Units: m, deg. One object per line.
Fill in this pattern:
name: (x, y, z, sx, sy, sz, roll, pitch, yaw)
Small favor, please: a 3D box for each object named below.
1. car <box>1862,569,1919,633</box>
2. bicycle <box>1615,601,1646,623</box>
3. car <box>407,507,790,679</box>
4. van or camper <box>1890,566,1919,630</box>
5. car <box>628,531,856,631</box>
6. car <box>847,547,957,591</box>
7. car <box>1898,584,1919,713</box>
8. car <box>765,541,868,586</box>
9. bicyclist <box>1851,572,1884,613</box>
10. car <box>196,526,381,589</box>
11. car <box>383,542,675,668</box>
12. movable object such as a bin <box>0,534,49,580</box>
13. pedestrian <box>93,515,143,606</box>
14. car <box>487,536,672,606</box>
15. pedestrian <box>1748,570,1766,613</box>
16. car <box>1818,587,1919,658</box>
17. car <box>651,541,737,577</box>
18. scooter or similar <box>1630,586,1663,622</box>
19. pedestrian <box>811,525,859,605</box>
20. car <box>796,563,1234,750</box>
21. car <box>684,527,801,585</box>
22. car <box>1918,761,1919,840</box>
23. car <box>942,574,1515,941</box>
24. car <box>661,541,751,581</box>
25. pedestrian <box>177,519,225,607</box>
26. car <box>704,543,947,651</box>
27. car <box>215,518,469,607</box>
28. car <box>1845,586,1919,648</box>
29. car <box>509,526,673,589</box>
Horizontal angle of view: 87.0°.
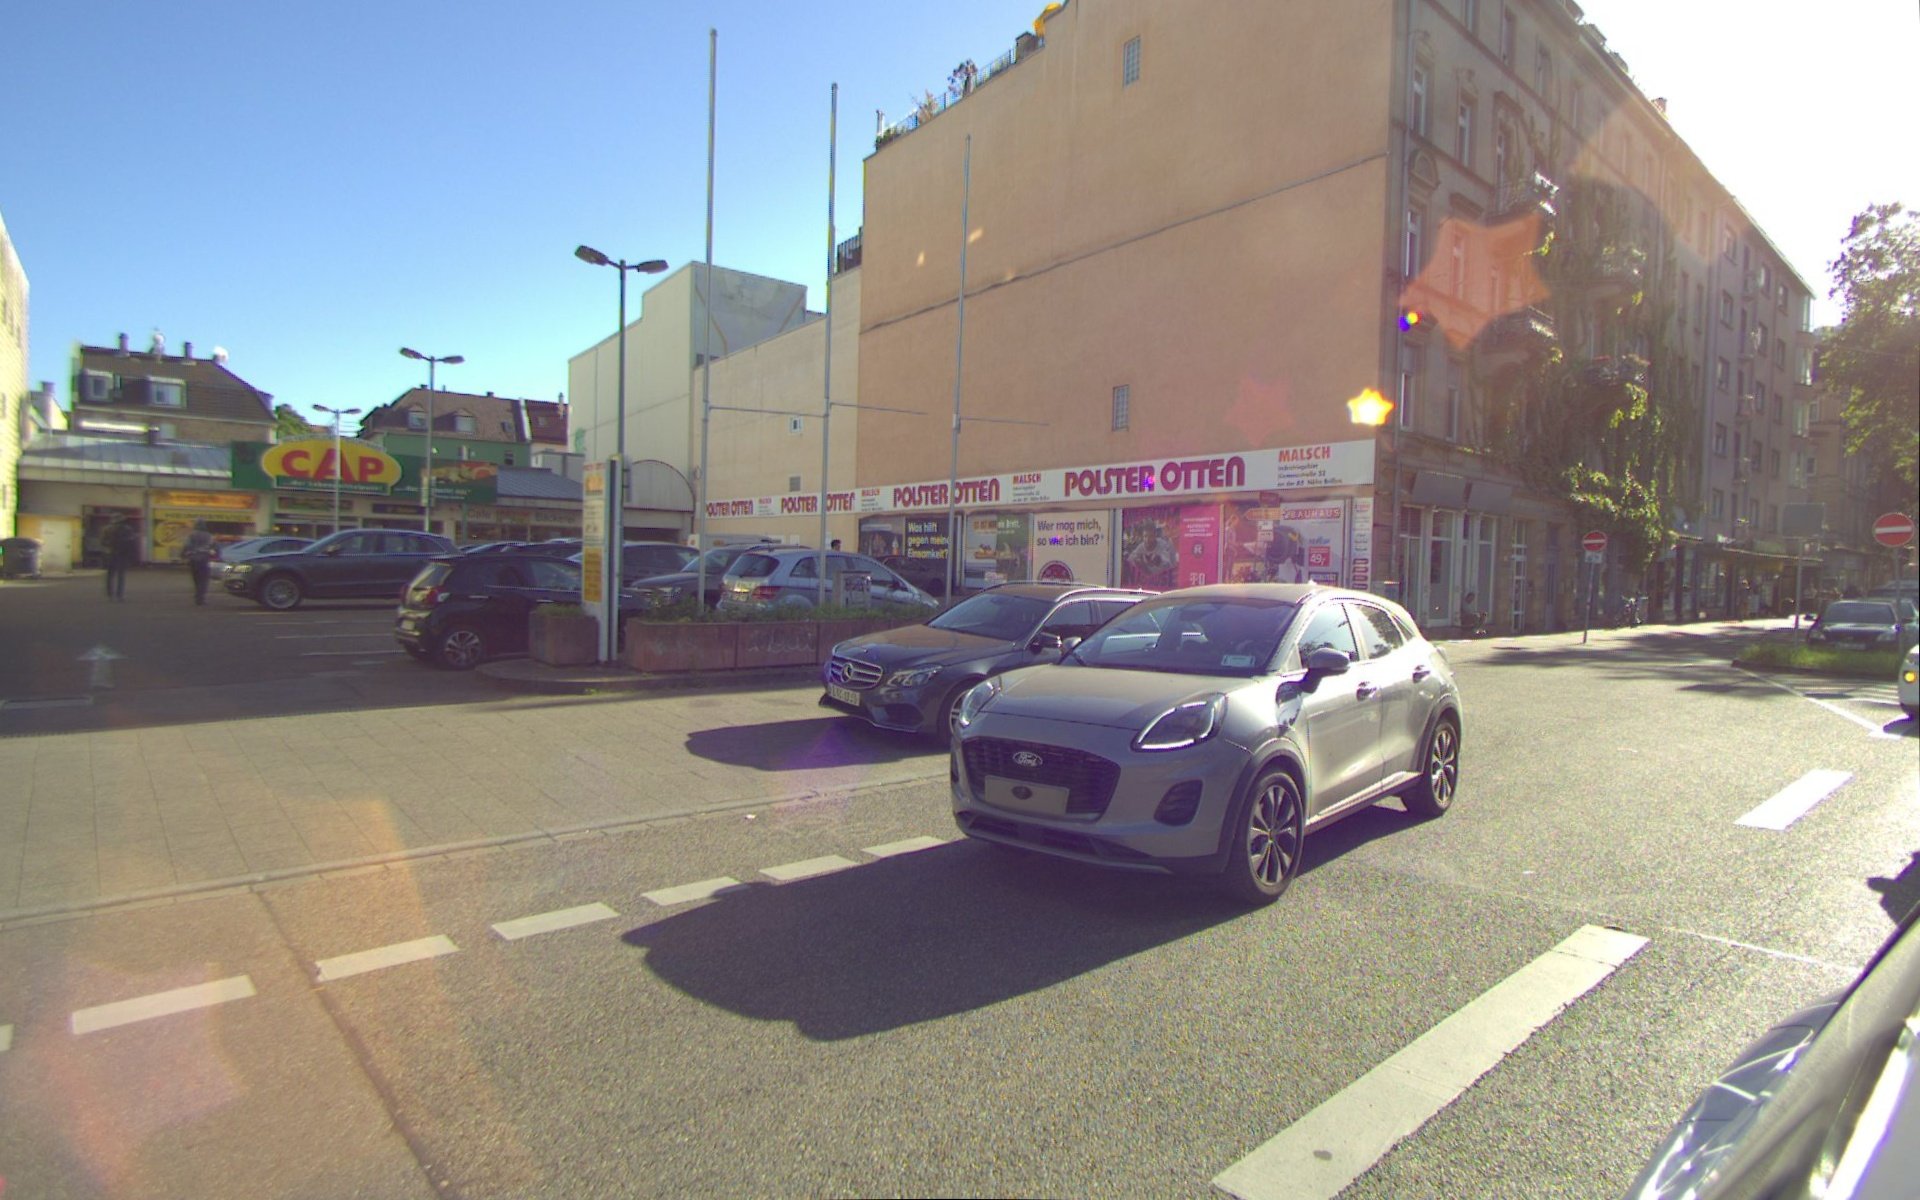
car: (28.735, 0.012, 30.407, 3.930, 1.785, 1.868, 0, 2, -41)
bicycle: (22.731, 0.403, 34.303, 1.486, 0.714, 0.469, 0, 2, -41)
car: (-4.093, -0.102, 11.835, 3.839, 1.664, 1.652, 1, 4, -45)
van or camper: (32.846, -0.054, 33.954, 5.007, 2.038, 1.887, 0, 2, -42)
car: (-4.074, -0.377, 19.308, 3.934, 1.714, 1.747, -1, 2, -44)
car: (-2.037, -1.111, 35.758, 3.580, 1.481, 1.680, -2, 3, -39)
car: (12.959, 0.539, 11.644, 3.702, 1.472, 1.612, -1, 1, -19)
car: (-5.541, -1.432, 39.213, 3.576, 1.690, 1.682, -1, 3, -35)
bicyclist: (33.692, -0.291, 37.562, 0.934, 1.480, 0.746, -1, 2, -39)
car: (-17.808, -1.106, 26.919, 3.930, 1.537, 1.725, 0, 2, -41)
car: (-5.792, 0.017, 13.809, 3.339, 1.504, 1.559, -1, 2, -45)
movable object such as a bin: (-31.653, -1.447, 34.183, 1.257, 1.526, 1.175, 0, 2, -41)
pedestrian: (-17.664, -0.829, 21.251, 0.748, 1.864, 0.748, 0, 2, -35)
car: (-9.123, -0.694, 24.427, 3.871, 1.563, 1.544, 0, 3, -42)
pedestrian: (34.745, -0.370, 44.104, 0.507, 1.856, 0.469, 0, 2, -41)
car: (21.715, 0.473, 23.979, 3.932, 1.537, 1.642, -1, 0, -43)
car: (-13.657, -2.089, 51.939, 3.967, 1.758, 1.664, 0, 2, -30)
scooter or similar: (24.070, 0.129, 35.520, 0.631, 1.188, 1.720, 2, 2, 25)
pedestrian: (-3.249, -0.908, 26.327, 0.907, 2.038, 0.818, 0, 2, -40)
car: (0.755, 0.449, 10.867, 4.650, 1.504, 1.838, 0, 5, -40)
car: (-9.686, -1.948, 45.191, 4.788, 2.442, 1.712, 0, 2, -33)
car: (7.560, 0.410, 6.253, 4.551, 1.821, 1.876, 0, 2, -40)
car: (1.985, 0.631, 6.439, 1.697, 1.547, 4.312, 1, 1, 43)
car: (-12.413, -1.903, 49.452, 3.967, 1.823, 1.664, 0, 2, -30)
pedestrian: (-15.538, -0.753, 20.732, 0.748, 1.777, 0.513, 0, 2, -35)
car: (-2.239, -0.106, 17.540, 3.935, 1.665, 1.746, -1, 3, -45)
car: (-12.825, -0.757, 21.150, 4.306, 1.687, 1.758, 0, 3, -41)
car: (24.958, 0.418, 26.915, 3.932, 1.537, 1.740, -1, 0, -43)
car: (-9.990, -1.138, 27.563, 3.871, 1.601, 1.659, 0, 3, -42)
